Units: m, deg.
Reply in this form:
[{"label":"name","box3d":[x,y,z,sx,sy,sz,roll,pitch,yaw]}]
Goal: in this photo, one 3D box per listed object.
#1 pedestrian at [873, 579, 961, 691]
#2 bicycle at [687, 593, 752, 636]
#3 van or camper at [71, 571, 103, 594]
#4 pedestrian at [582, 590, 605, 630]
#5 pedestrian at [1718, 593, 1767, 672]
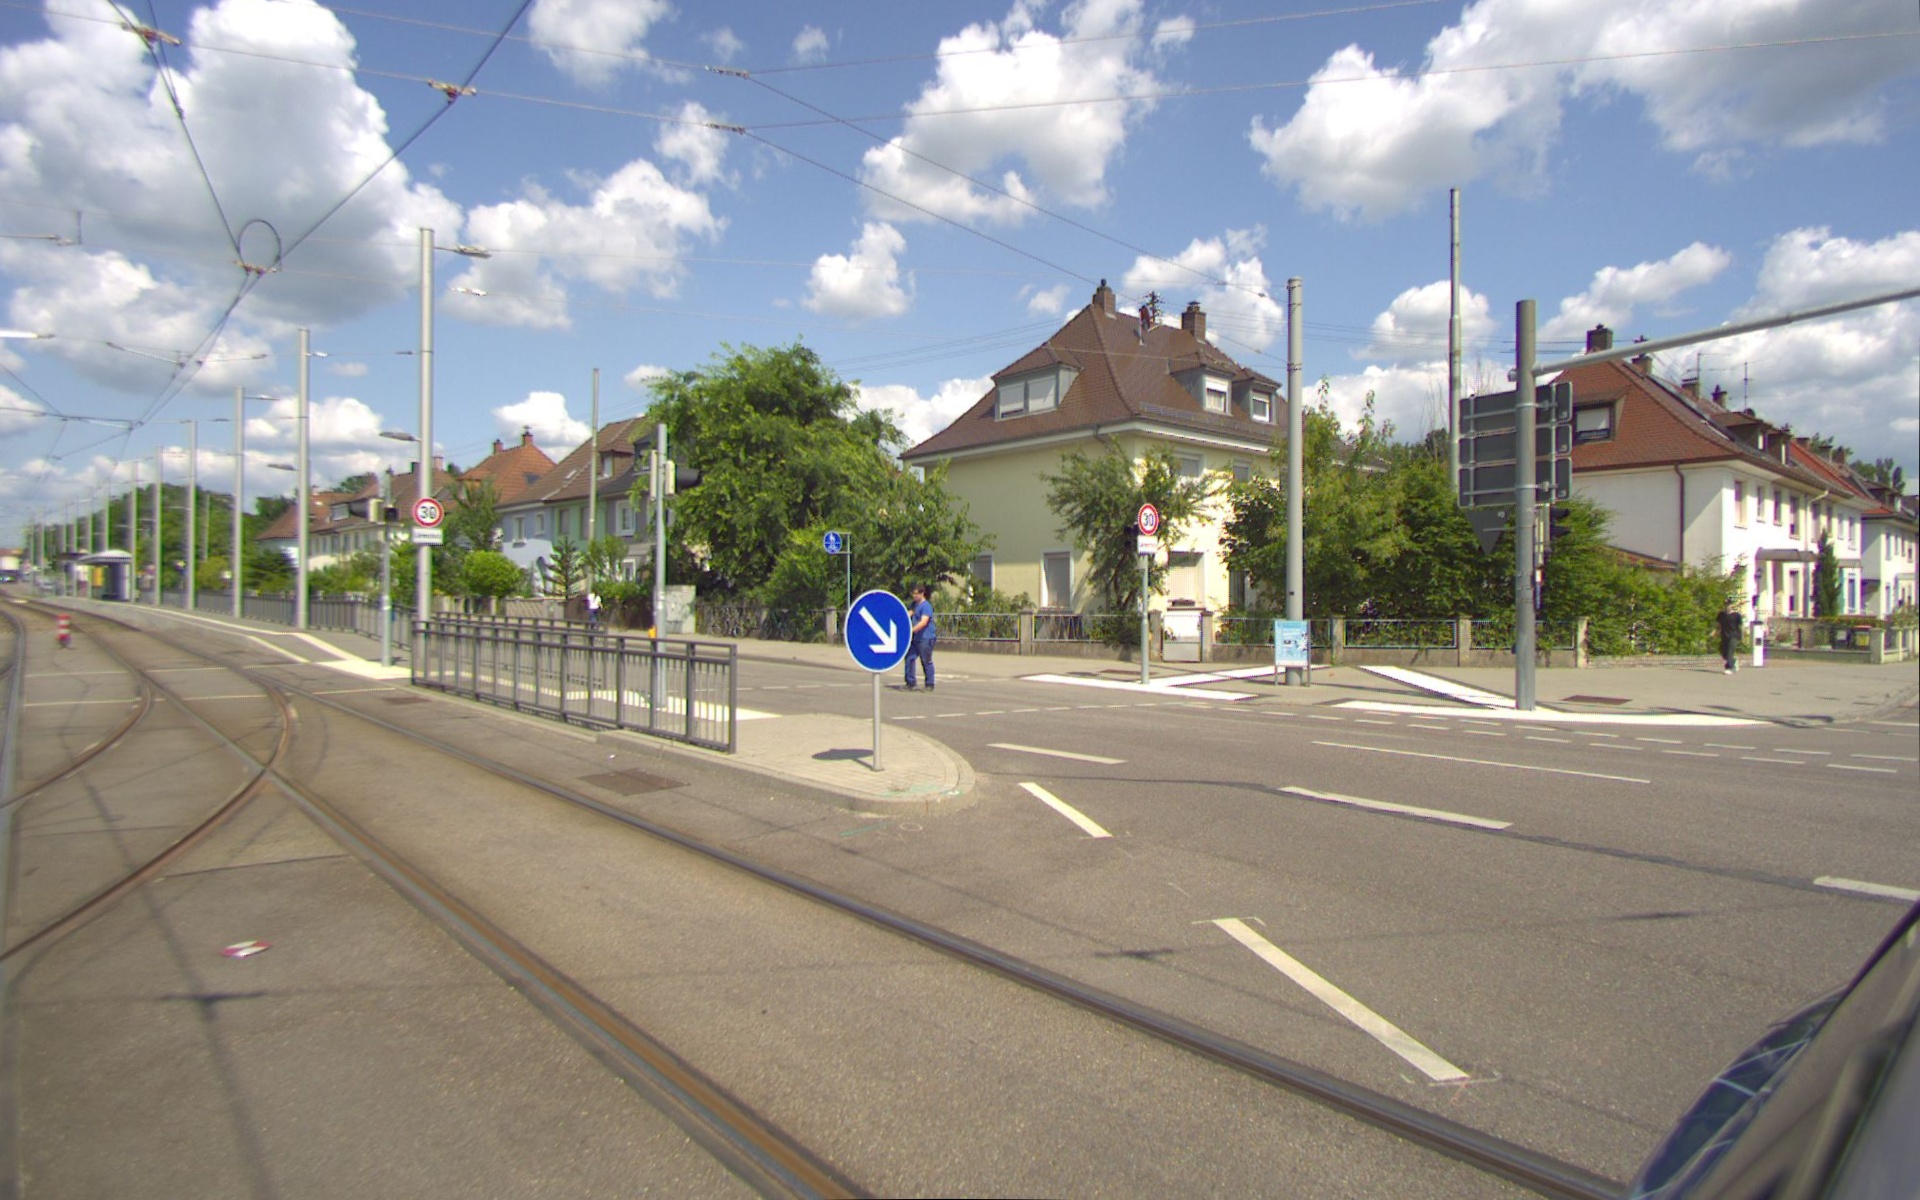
[{"label":"pedestrian","box3d":[-0.707,0.548,16.704,1.024,1.757,1.030,1,0,-44]},{"label":"bicycle","box3d":[-7.879,0.459,33.064,2.791,1.351,0.613,1,0,43]},{"label":"van or camper","box3d":[-129.930,-2.602,150.569,7.101,3.250,2.959,-1,-1,44]},{"label":"pedestrian","box3d":[-13.373,0.353,36.952,0.674,1.450,0.515,1,0,-33]},{"label":"pedestrian","box3d":[18.237,0.741,23.581,0.919,1.790,0.593,1,0,-31]}]
